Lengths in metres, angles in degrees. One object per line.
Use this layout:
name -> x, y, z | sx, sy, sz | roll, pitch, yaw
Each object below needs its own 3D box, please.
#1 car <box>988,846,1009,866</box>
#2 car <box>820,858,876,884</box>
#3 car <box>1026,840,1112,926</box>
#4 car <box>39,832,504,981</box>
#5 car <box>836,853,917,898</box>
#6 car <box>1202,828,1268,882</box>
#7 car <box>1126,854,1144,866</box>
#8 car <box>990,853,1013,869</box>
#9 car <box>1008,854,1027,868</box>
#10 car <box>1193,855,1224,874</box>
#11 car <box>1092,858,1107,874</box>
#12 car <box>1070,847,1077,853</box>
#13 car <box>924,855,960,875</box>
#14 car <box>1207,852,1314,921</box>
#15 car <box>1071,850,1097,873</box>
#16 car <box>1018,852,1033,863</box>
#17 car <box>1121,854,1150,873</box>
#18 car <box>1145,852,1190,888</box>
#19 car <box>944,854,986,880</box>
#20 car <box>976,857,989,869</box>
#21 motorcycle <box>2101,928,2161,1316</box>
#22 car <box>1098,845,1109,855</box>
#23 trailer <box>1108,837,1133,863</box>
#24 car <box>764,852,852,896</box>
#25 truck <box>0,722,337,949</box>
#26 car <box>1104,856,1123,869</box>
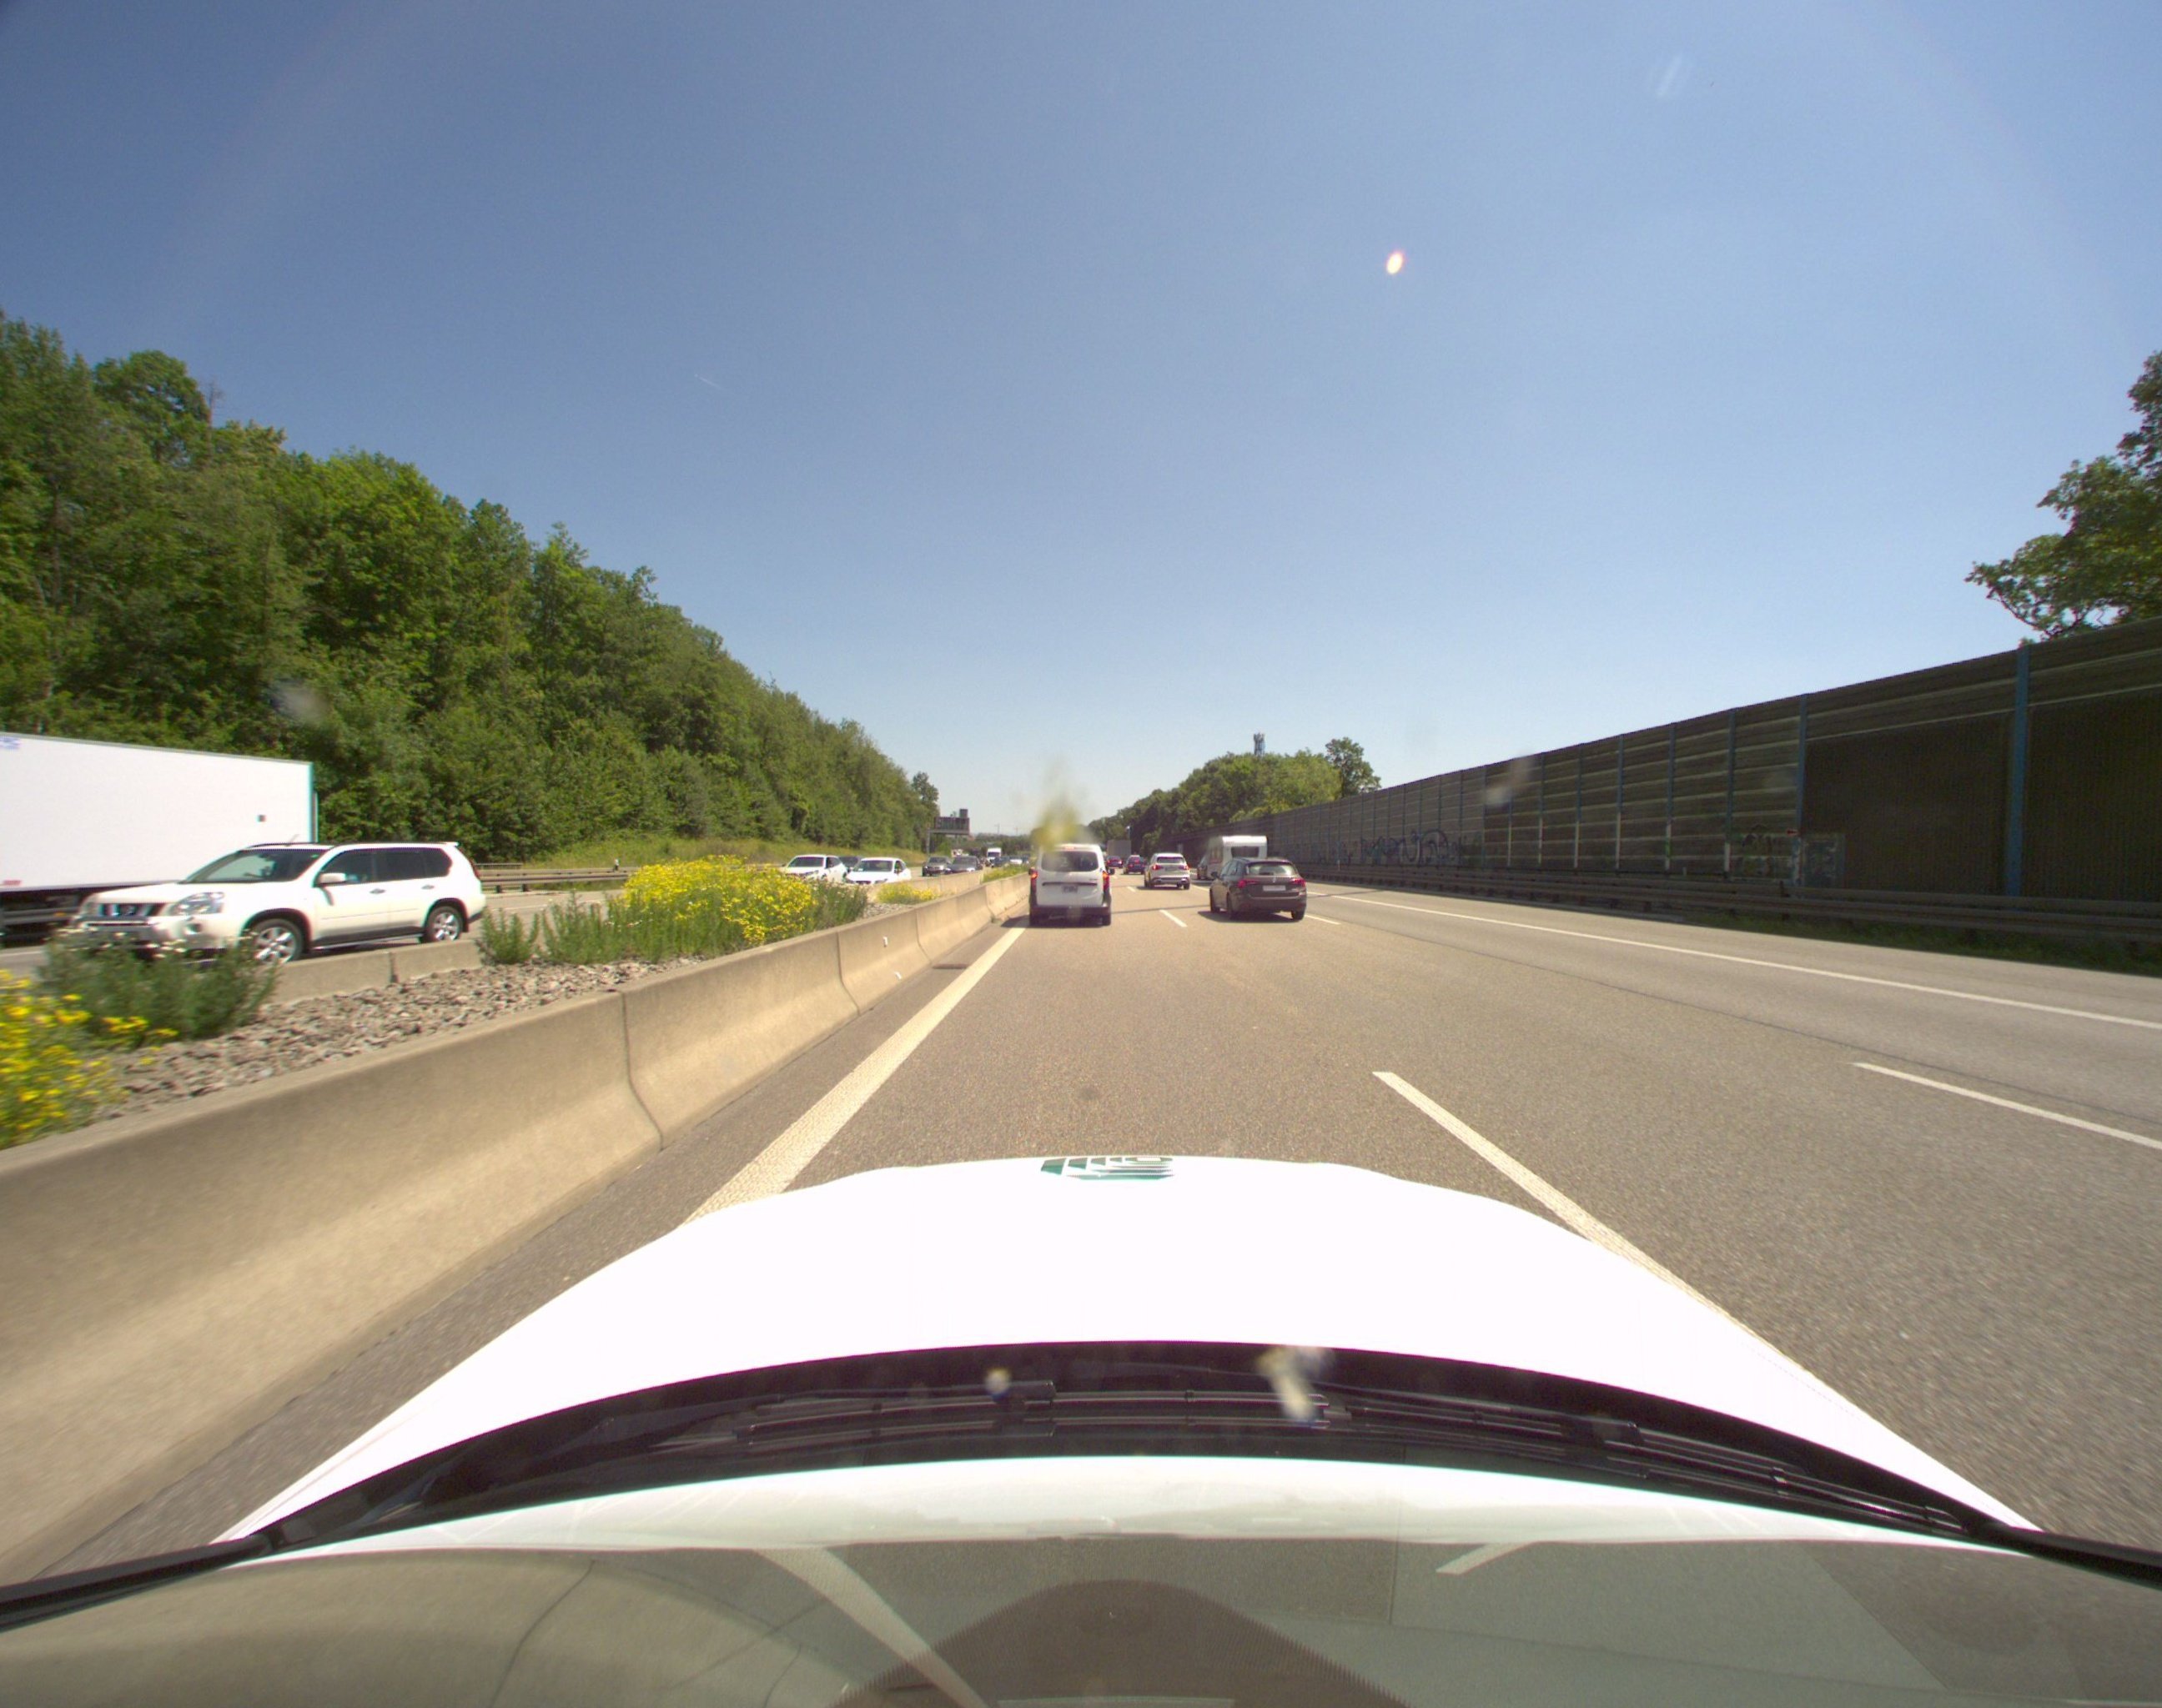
car -> -11.403, 0.338, 112.737 | 2.208, 2.701, 6.061 | 0, 0, 0
car -> -14.391, 1.021, 50.548 | 1.986, 1.481, 4.691 | -1, 0, 1
car -> -0.196, 0.618, 19.204 | 1.795, 1.808, 4.001 | -1, 0, 2
car -> -10.883, 0.602, 11.598 | 1.986, 1.701, 4.532 | 0, 0, 2
car -> -6.891, 0.681, 27.829 | 1.626, 1.428, 4.038 | -1, 0, 2
car -> 8.304, 0.061, 44.679 | 2.470, 2.766, 6.219 | 0, 0, 0
car -> 6.923, 0.759, 104.368 | 1.820, 1.424, 3.996 | 0, 0, -3
car -> -7.162, 0.633, 73.686 | 1.659, 1.428, 3.857 | 0, 0, 1
car -> -7.125, 0.813, 91.717 | 1.798, 1.527, 4.257 | 0, 0, 1
car -> 10.044, 0.827, 64.433 | 1.818, 1.424, 3.998 | 0, 0, -1
car -> 2.655, 1.717, 115.877 | 1.820, 1.988, 3.997 | -2, 1, -3
car -> -2.248, -1.310, 243.727 | 1.988, 1.728, 3.996 | -1, 0, -2
car -> -10.031, 0.764, 59.038 | 1.836, 1.420, 4.234 | 0, 0, 1
car -> 4.341, 0.721, 20.338 | 1.831, 1.513, 4.403 | 0, 0, 2
car -> 0.237, 0.624, 68.202 | 1.989, 1.860, 3.996 | 0, 0, -3
car -> -7.861, 0.495, 116.163 | 1.869, 1.410, 4.411 | 0, 0, 0
car -> 4.288, 0.711, 64.326 | 1.820, 1.424, 3.996 | 0, 0, -3
car -> 4.063, 0.702, 38.742 | 1.864, 1.608, 3.880 | 0, 0, 2
car -> -6.655, 0.730, 47.020 | 1.726, 1.405, 4.610 | -1, 0, 0
car -> -18.022, 1.631, 149.454 | 1.988, 2.013, 3.997 | 0, 0, -2
motorcycle -> 3.724, 0.840, 1.519 | 0.856, 1.181, 2.277 | 0, 0, 2
car -> 4.510, -0.853, 163.010 | 1.989, 2.013, 3.996 | -1, 0, -2
trailer -> 6.173, -0.566, 129.867 | 3.074, 3.985, 10.312 | 0, 0, -3
car -> -10.249, 0.722, 30.902 | 1.835, 1.546, 4.002 | -1, 0, 2
truck -> -17.846, -0.283, 14.325 | 2.726, 3.475, 7.315 | 0, 0, 0
car -> 3.640, 0.955, 91.159 | 1.820, 1.424, 3.996 | 0, 0, -3
